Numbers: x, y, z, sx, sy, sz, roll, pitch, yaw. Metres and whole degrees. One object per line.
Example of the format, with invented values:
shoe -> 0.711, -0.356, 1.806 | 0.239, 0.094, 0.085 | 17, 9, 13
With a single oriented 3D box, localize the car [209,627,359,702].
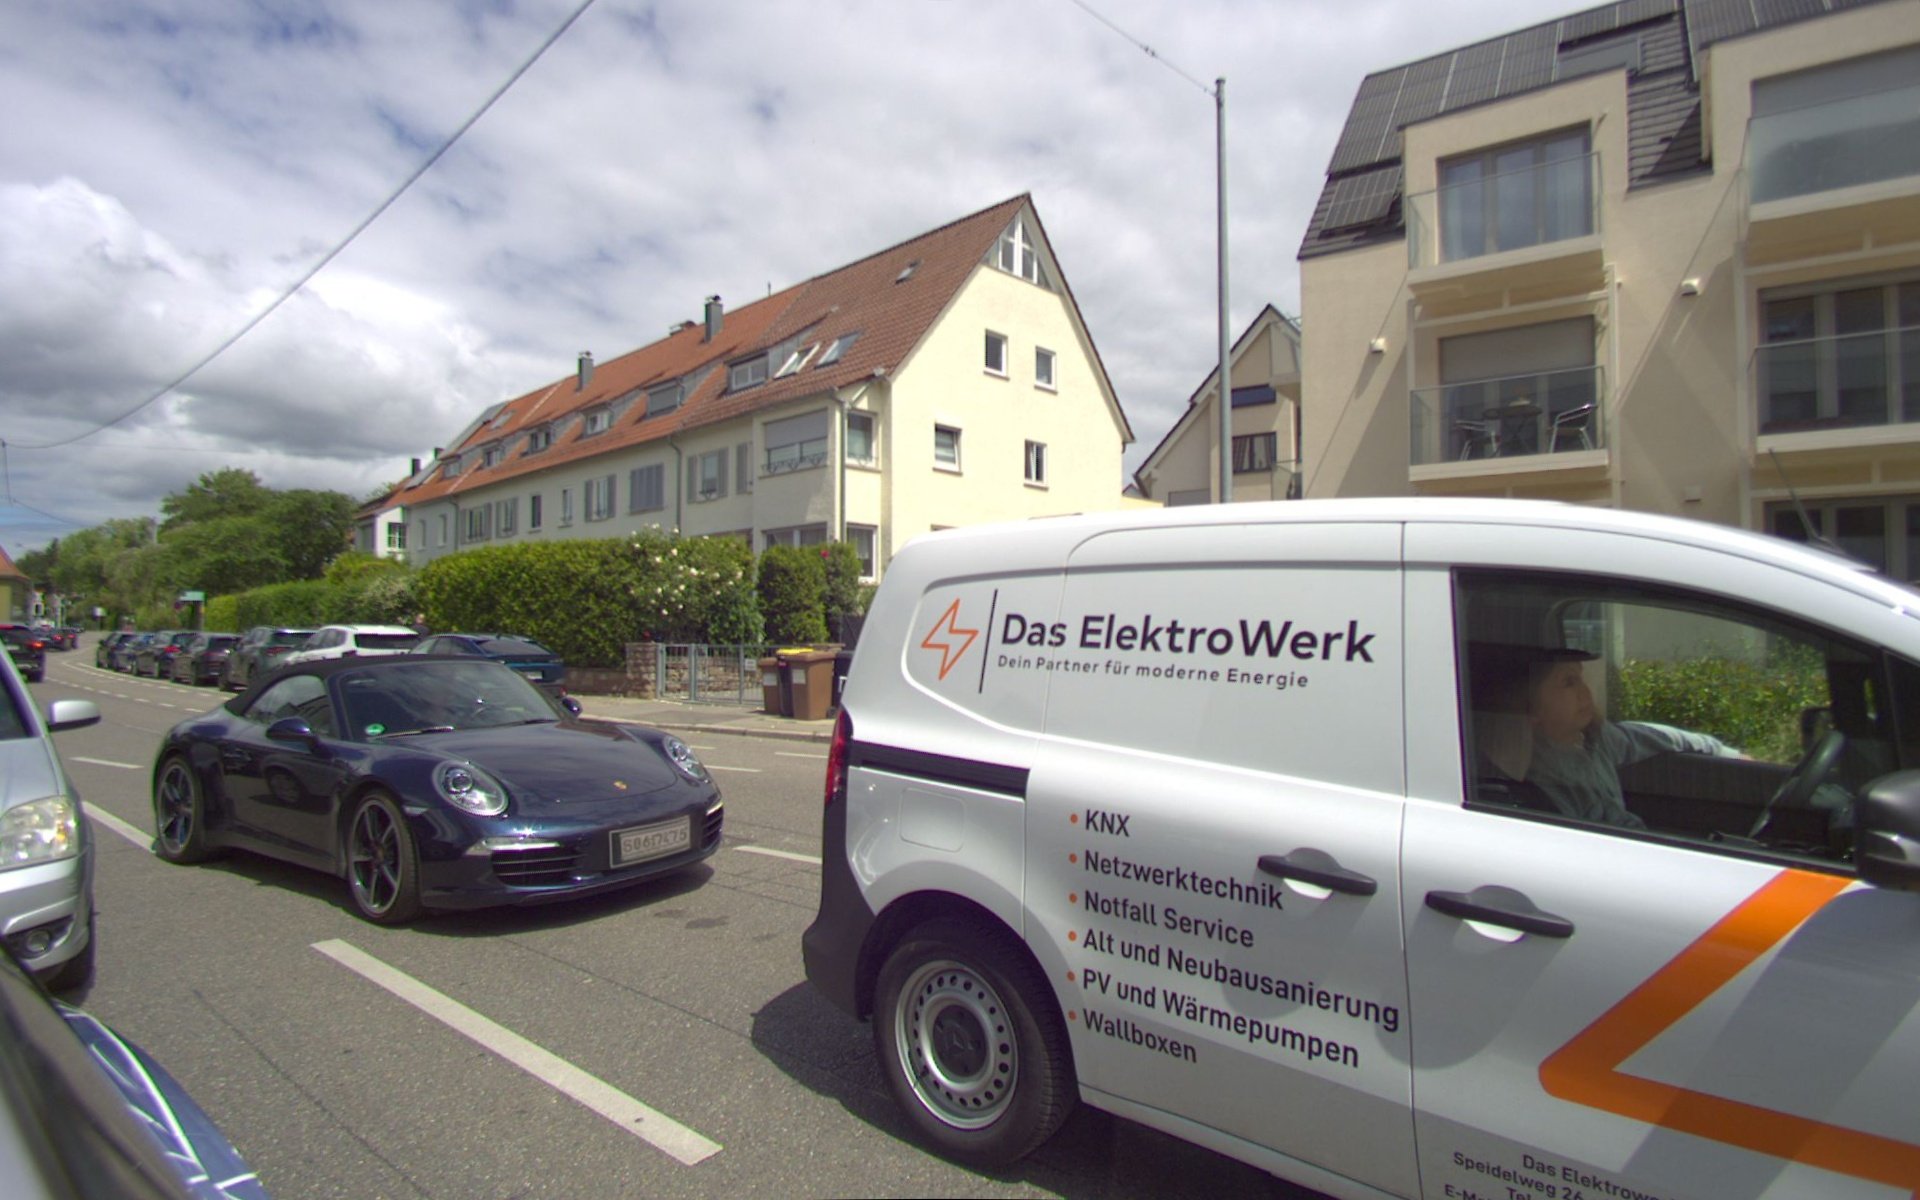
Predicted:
car -> -16.529, 1.500, 24.684 | 4.234, 1.645, 1.973 | -2, -2, 41

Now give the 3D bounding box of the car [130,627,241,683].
car -> -24.577, 1.685, 32.077 | 4.234, 1.645, 1.973 | -2, -2, 41

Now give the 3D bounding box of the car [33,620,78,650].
car -> -60.670, 2.356, 67.920 | 1.968, 1.929, 4.077 | 1, -2, -39

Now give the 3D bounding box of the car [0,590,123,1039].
car -> -5.258, 0.790, 4.479 | 3.999, 1.587, 1.751 | -2, -2, 41

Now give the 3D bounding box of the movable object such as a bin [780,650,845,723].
movable object such as a bin -> -2.321, 1.338, 15.888 | 0.752, 1.073, 0.693 | 1, -2, -42

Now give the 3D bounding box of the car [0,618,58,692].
car -> -26.449, 1.473, 27.891 | 4.069, 1.929, 1.972 | -2, -2, 43

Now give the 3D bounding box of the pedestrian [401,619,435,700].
pedestrian -> -12.523, 1.361, 23.385 | 0.511, 1.829, 0.526 | -1, -2, 36

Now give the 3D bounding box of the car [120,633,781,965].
car -> -3.197, 0.900, 6.139 | 4.032, 1.374, 1.796 | -1, -2, 33

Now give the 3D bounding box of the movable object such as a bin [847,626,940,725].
movable object such as a bin -> -1.041, 1.147, 15.809 | 0.980, 1.457, 1.078 | -2, -2, 40

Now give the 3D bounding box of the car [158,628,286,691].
car -> -20.743, 1.605, 28.385 | 4.234, 1.645, 1.973 | -2, -3, 41

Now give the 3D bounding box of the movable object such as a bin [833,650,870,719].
movable object such as a bin -> -1.743, 1.348, 16.339 | 0.516, 1.073, 0.656 | 0, -1, 2

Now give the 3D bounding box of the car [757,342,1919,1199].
car -> 1.626, 0.547, 2.503 | 4.414, 1.825, 1.798 | -1, -2, 39

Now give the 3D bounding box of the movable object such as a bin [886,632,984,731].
movable object such as a bin -> -0.360, 1.164, 14.926 | 0.980, 1.373, 1.078 | -2, -2, 40

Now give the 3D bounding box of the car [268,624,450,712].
car -> -12.691, 1.348, 21.262 | 4.450, 1.645, 1.973 | -2, -2, 41

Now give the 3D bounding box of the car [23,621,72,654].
car -> -56.089, 2.300, 62.265 | 1.968, 1.929, 4.077 | 1, -2, -39

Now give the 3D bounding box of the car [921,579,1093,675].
car -> 1.153, 0.609, 23.464 | 1.999, 2.029, 3.946 | -1, -2, 40

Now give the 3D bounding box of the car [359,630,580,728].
car -> -8.805, 1.308, 18.018 | 4.447, 1.513, 1.796 | -1, -2, 38

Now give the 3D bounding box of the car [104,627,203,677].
car -> -28.451, 1.788, 35.665 | 4.234, 1.645, 1.973 | -2, -2, 41

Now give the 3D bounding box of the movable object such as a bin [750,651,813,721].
movable object such as a bin -> -2.890, 1.370, 16.380 | 0.752, 1.073, 0.693 | 1, -2, -42
